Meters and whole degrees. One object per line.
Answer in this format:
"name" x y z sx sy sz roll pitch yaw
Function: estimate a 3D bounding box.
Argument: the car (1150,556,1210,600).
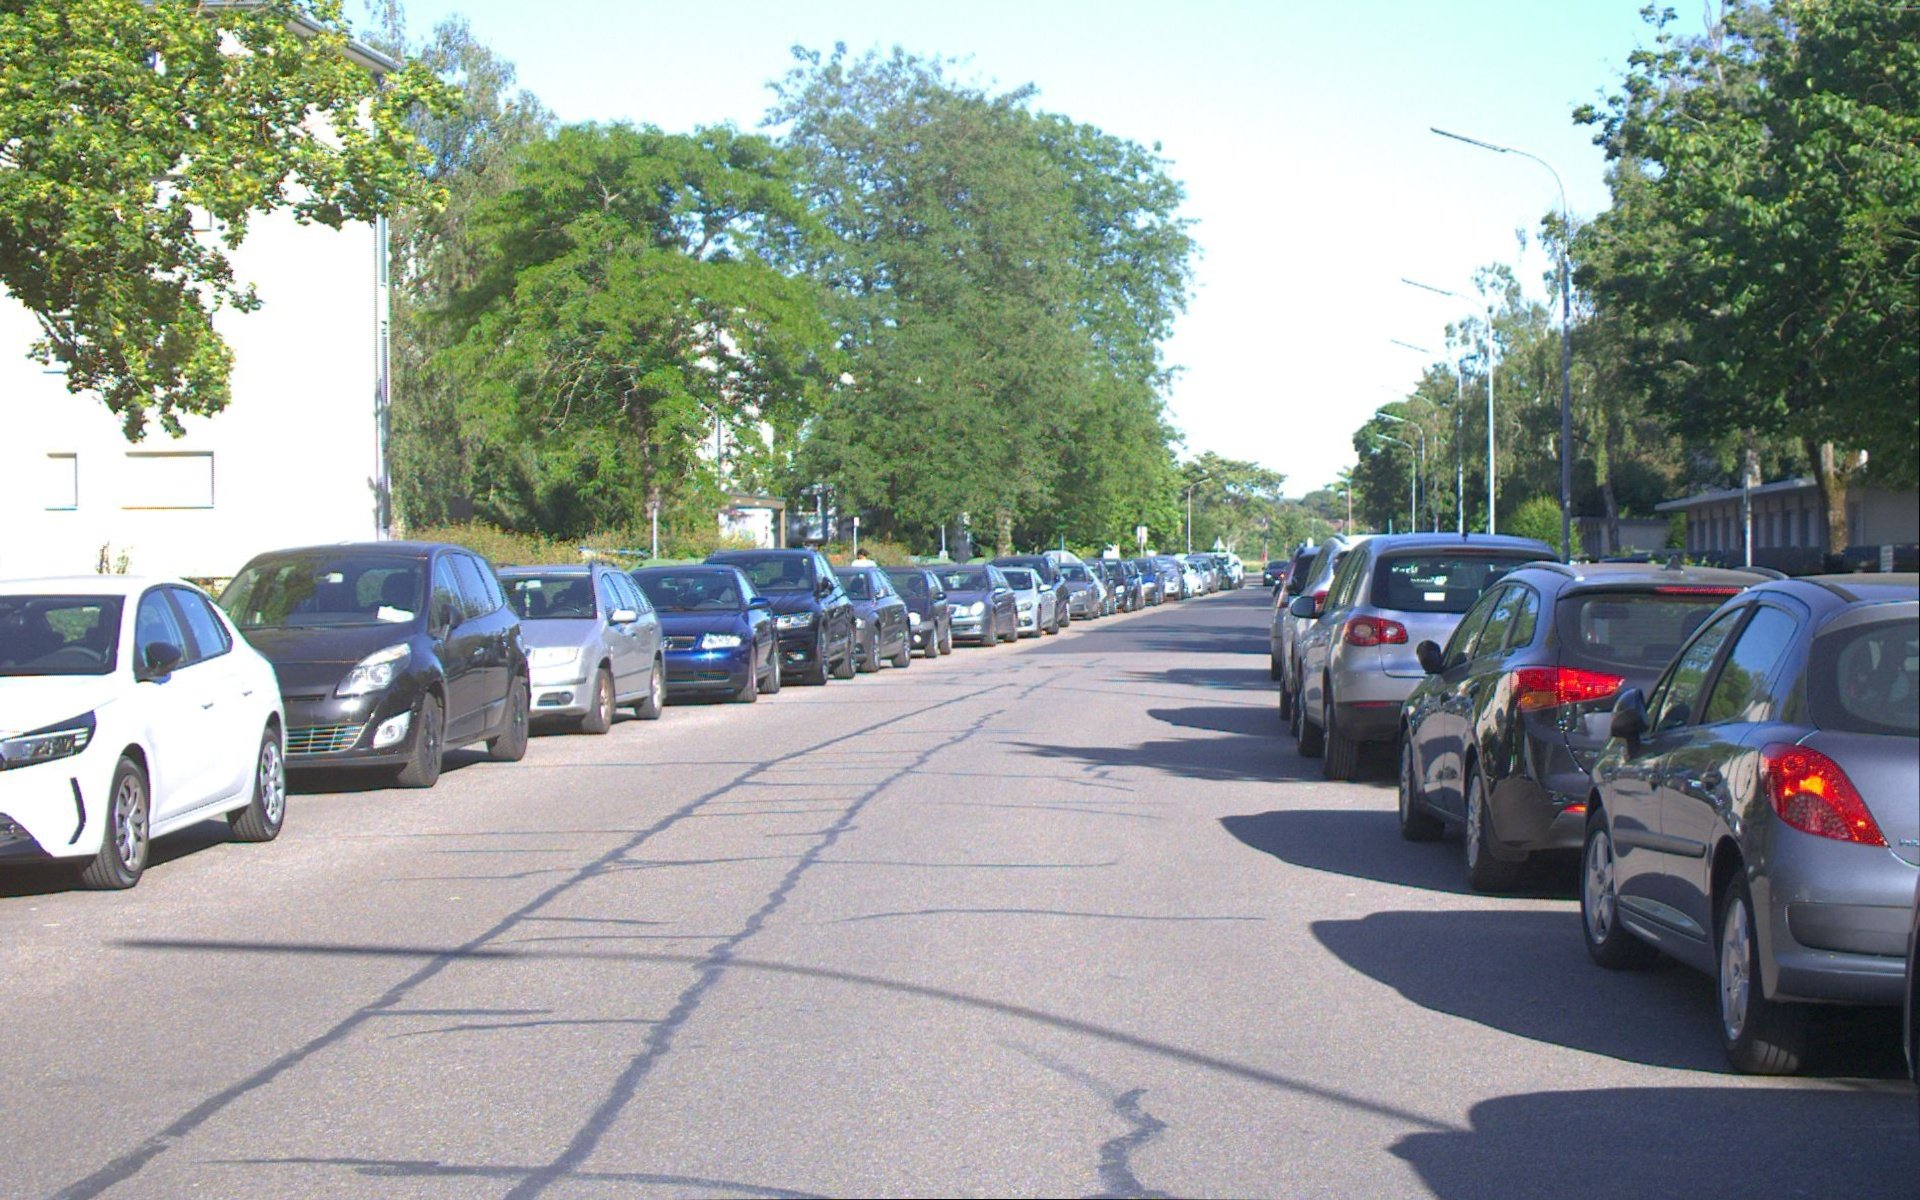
"car" 8.018 -0.824 125.264 1.825 1.461 4.232 1 2 8

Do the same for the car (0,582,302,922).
"car" -4.556 0.668 16.895 1.670 1.416 3.901 -1 1 3

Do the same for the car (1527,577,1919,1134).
"car" 3.033 0.706 11.313 1.684 1.482 3.824 2 1 0

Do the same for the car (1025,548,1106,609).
"car" 2.576 -0.528 83.474 1.510 1.377 3.466 -2 1 9

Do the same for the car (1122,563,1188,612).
"car" 6.555 -0.428 115.221 1.825 1.461 4.232 1 2 8

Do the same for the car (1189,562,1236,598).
"car" 11.515 -0.921 156.442 1.825 1.461 4.232 1 2 8

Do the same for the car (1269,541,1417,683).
"car" 4.697 0.103 42.316 1.698 1.636 4.233 1 1 6

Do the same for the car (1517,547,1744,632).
"car" 13.043 -0.218 67.096 4.221 1.588 1.830 1 1 8

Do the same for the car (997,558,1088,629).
"car" 1.820 -0.156 75.181 1.510 1.429 3.466 -2 1 9

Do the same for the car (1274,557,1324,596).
"car" 12.752 -0.902 129.452 1.824 1.320 4.233 1 2 6

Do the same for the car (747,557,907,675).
"car" -1.752 0.186 46.457 1.660 1.434 3.759 -2 1 5

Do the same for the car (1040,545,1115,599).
"car" 3.069 -0.742 89.466 1.510 1.324 3.466 -2 1 9

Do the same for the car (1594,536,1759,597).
"car" 19.305 -0.897 92.748 4.221 1.525 1.829 1 -2 8

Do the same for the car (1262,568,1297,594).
"car" 18.452 -1.107 198.384 1.945 1.285 4.233 1 2 6

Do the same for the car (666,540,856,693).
"car" -2.342 0.155 41.333 1.660 1.682 4.049 -2 1 5

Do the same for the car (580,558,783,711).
"car" -2.836 0.315 35.736 1.660 1.421 4.049 -2 1 1

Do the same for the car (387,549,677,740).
"car" -3.653 0.337 30.033 1.660 1.481 4.052 -2 1 5

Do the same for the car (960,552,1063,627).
"car" 1.034 -0.217 67.500 1.510 1.359 3.466 -2 1 9

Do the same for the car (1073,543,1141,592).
"car" 4.208 -0.943 98.228 1.510 1.324 3.466 -2 1 9

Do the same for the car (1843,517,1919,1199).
"car" 2.999 0.697 5.871 1.810 1.658 4.462 1 1 0

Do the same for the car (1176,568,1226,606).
"car" 10.385 -0.563 147.893 1.825 1.461 4.232 1 2 8

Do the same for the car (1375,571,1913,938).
"car" 3.108 0.627 16.472 1.682 1.451 4.292 1 1 0

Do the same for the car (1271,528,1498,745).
"car" 3.547 0.250 29.299 1.653 1.693 4.233 1 1 4

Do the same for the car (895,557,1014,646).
"car" -0.071 0.002 61.258 1.510 1.446 3.689 -2 1 9

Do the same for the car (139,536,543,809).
"car" -4.135 0.414 23.663 1.670 1.661 4.406 -2 1 4

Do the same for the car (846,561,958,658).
"car" -0.897 0.130 54.350 1.389 1.408 3.125 -2 1 5

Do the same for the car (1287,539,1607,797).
"car" 3.282 0.395 23.884 1.729 1.613 4.233 1 1 2
